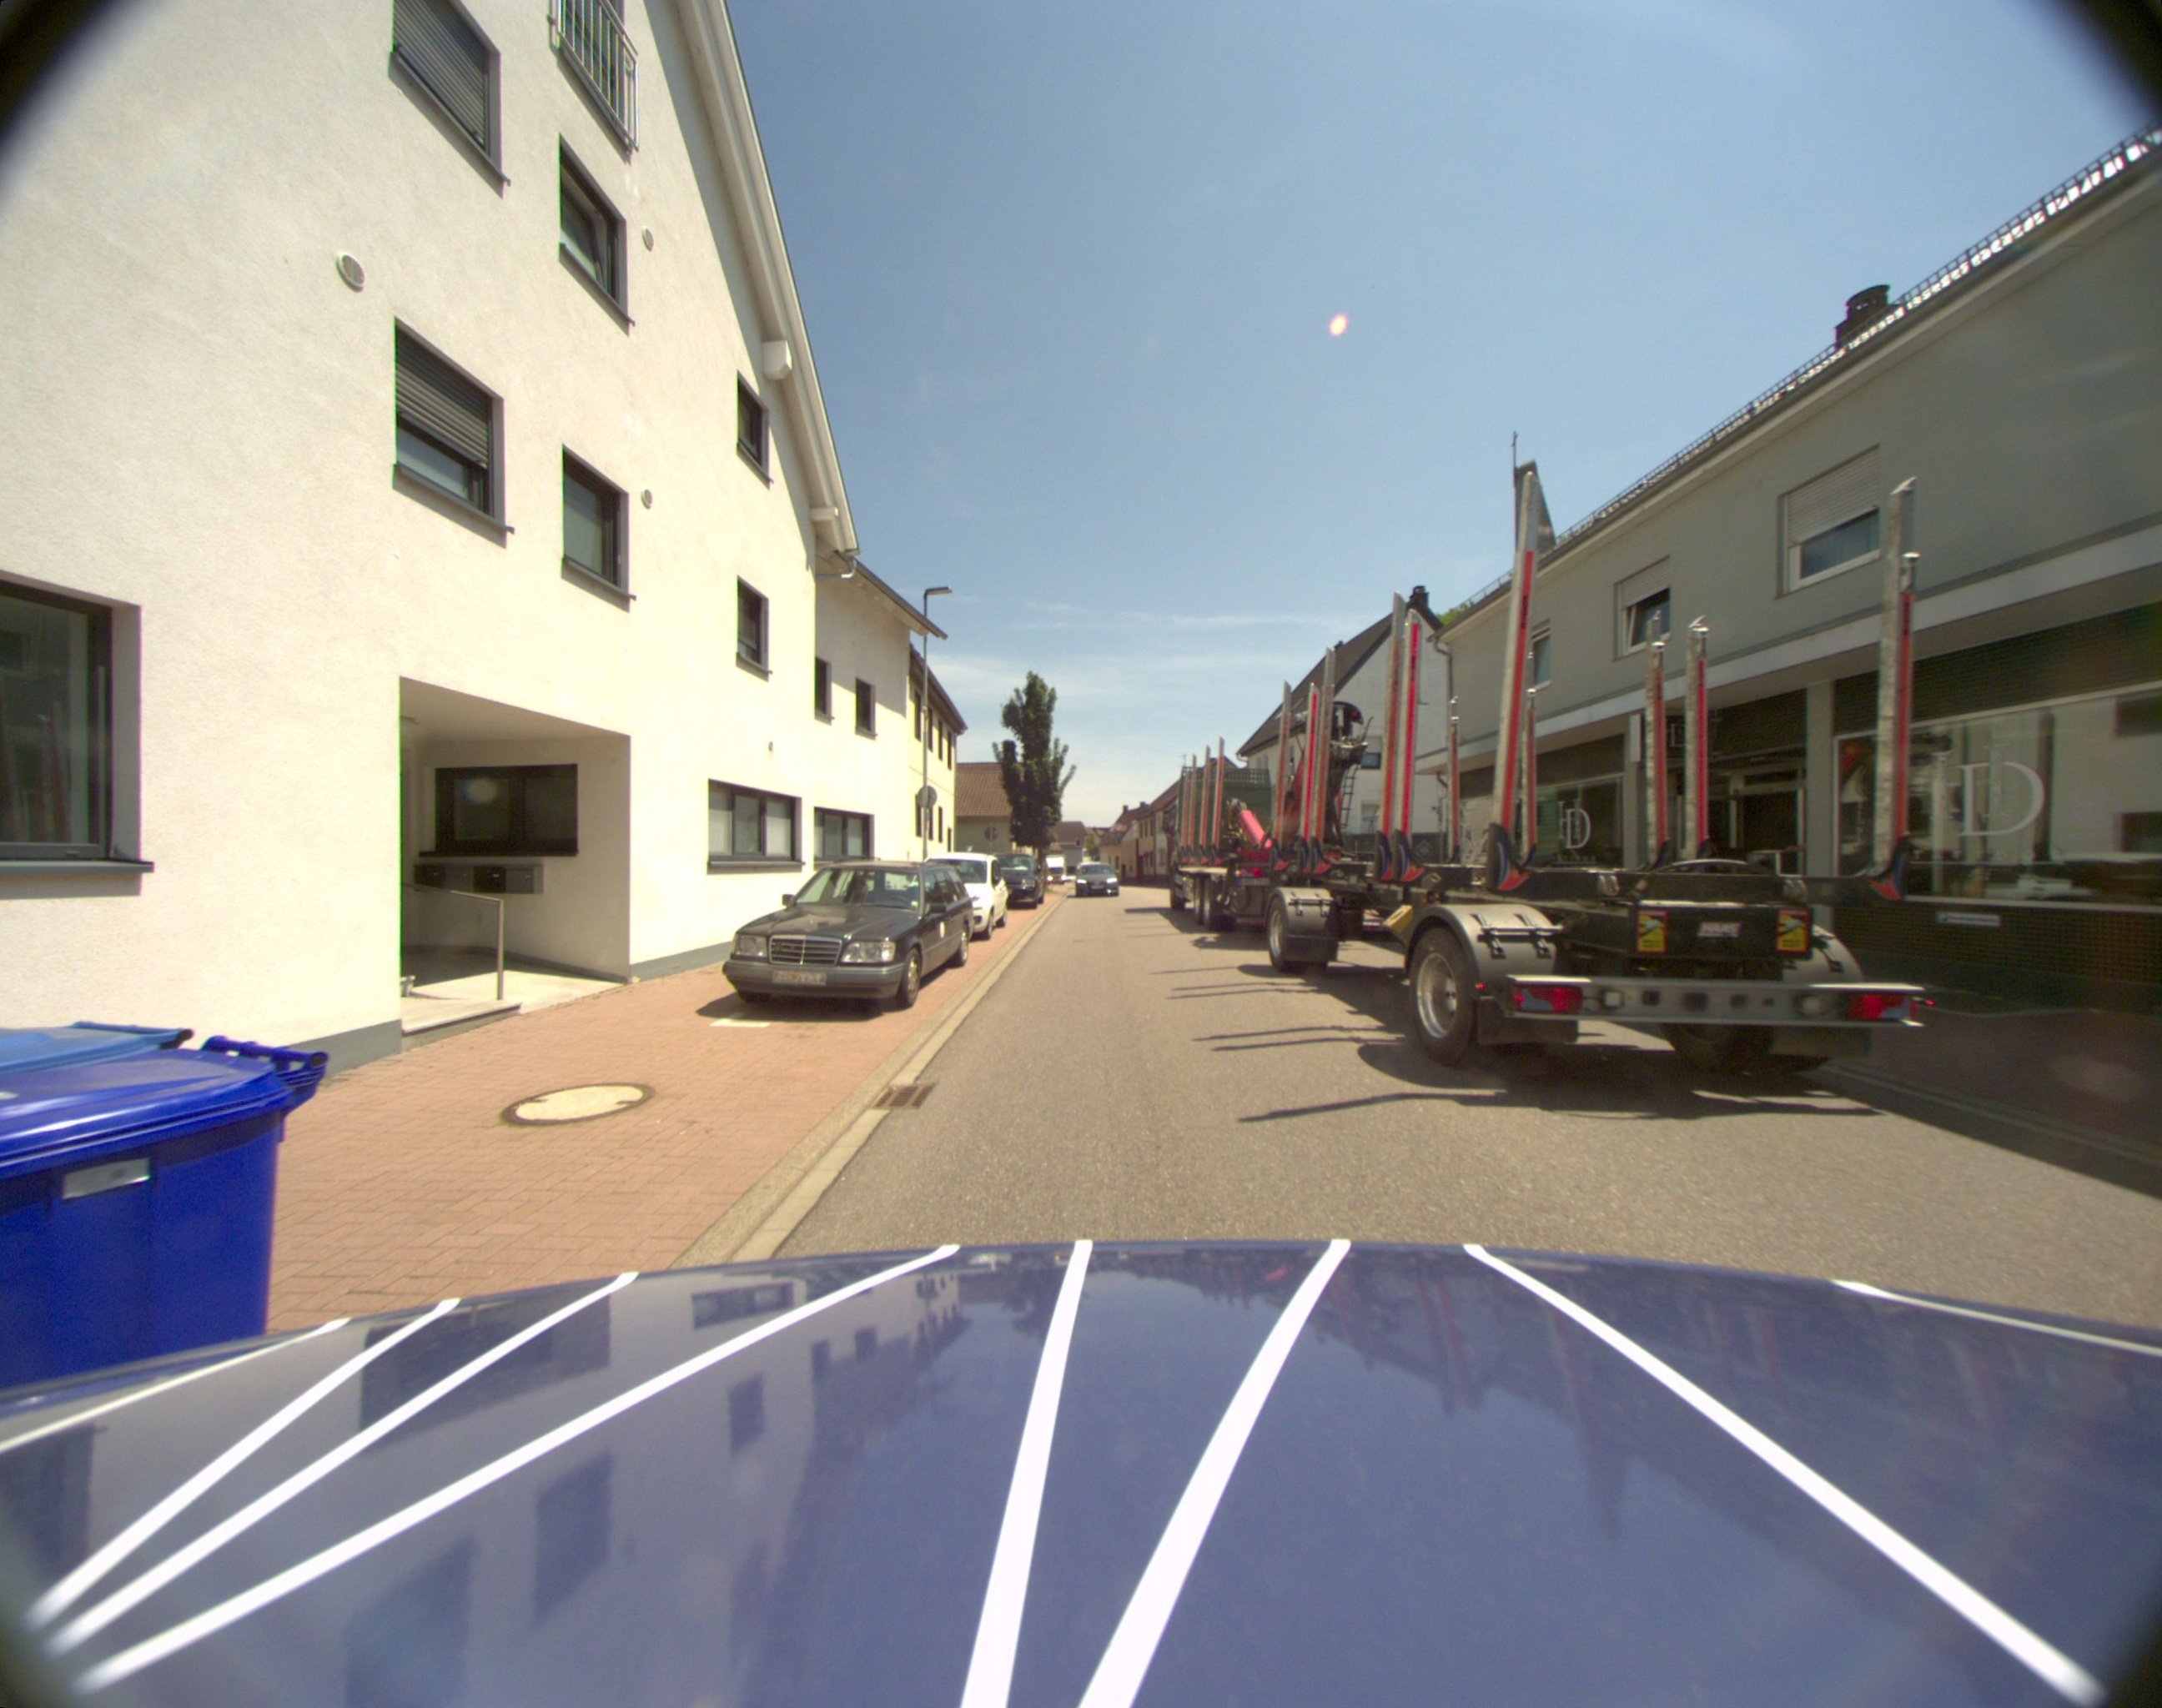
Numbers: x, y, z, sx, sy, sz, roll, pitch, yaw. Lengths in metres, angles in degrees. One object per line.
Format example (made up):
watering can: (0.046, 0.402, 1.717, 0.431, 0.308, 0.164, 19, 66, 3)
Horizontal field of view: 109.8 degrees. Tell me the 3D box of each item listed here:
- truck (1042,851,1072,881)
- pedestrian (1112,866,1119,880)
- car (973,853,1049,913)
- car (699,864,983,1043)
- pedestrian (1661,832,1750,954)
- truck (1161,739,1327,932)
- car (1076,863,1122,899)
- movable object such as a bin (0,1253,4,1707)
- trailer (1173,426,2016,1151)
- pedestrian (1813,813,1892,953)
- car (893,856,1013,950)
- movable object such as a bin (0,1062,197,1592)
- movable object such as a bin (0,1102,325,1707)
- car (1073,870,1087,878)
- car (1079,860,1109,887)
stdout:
truck: (-2.923, 1.378, 90.481, 2.869, 3.491, 8.315, 1, 0, -6)
pedestrian: (3.899, 2.170, 86.236, 0.663, 1.555, 0.755, -2, 0, -5)
car: (-2.017, 0.832, 23.224, 1.807, 1.604, 4.549, 1, -1, 1)
car: (-2.435, 0.910, 9.125, 1.704, 1.438, 4.837, 2, 0, 2)
pedestrian: (8.920, 0.543, 10.873, 0.626, 1.675, 0.771, -1, 1, 1)
truck: (3.760, -0.388, 19.256, 2.625, 3.962, 6.851, 1, 0, 0)
car: (0.739, 1.075, 31.341, 1.786, 1.364, 3.607, -1, 0, 1)
movable object such as a bin: (-2.122, 1.123, 0.791, 0.723, 1.067, 0.973, 2, 0, 18)
trailer: (3.779, -0.368, 12.054, 2.637, 3.956, 15.697, 1, 0, 0)
pedestrian: (9.811, 0.349, 9.688, 0.664, 1.703, 0.632, -1, 2, 42)
car: (-2.340, 0.838, 14.676, 1.610, 1.513, 3.545, 2, 0, 1)
movable object such as a bin: (-2.775, 1.134, 1.704, 0.655, 1.054, 0.836, 2, 0, 18)
movable object such as a bin: (-2.142, 1.146, 1.499, 0.656, 1.029, 0.685, 2, 1, 17)
car: (-0.108, 3.292, 124.919, 1.698, 1.401, 4.204, 0, -1, 7)
car: (0.932, 1.431, 57.374, 2.079, 1.949, 5.518, -1, 0, -1)
